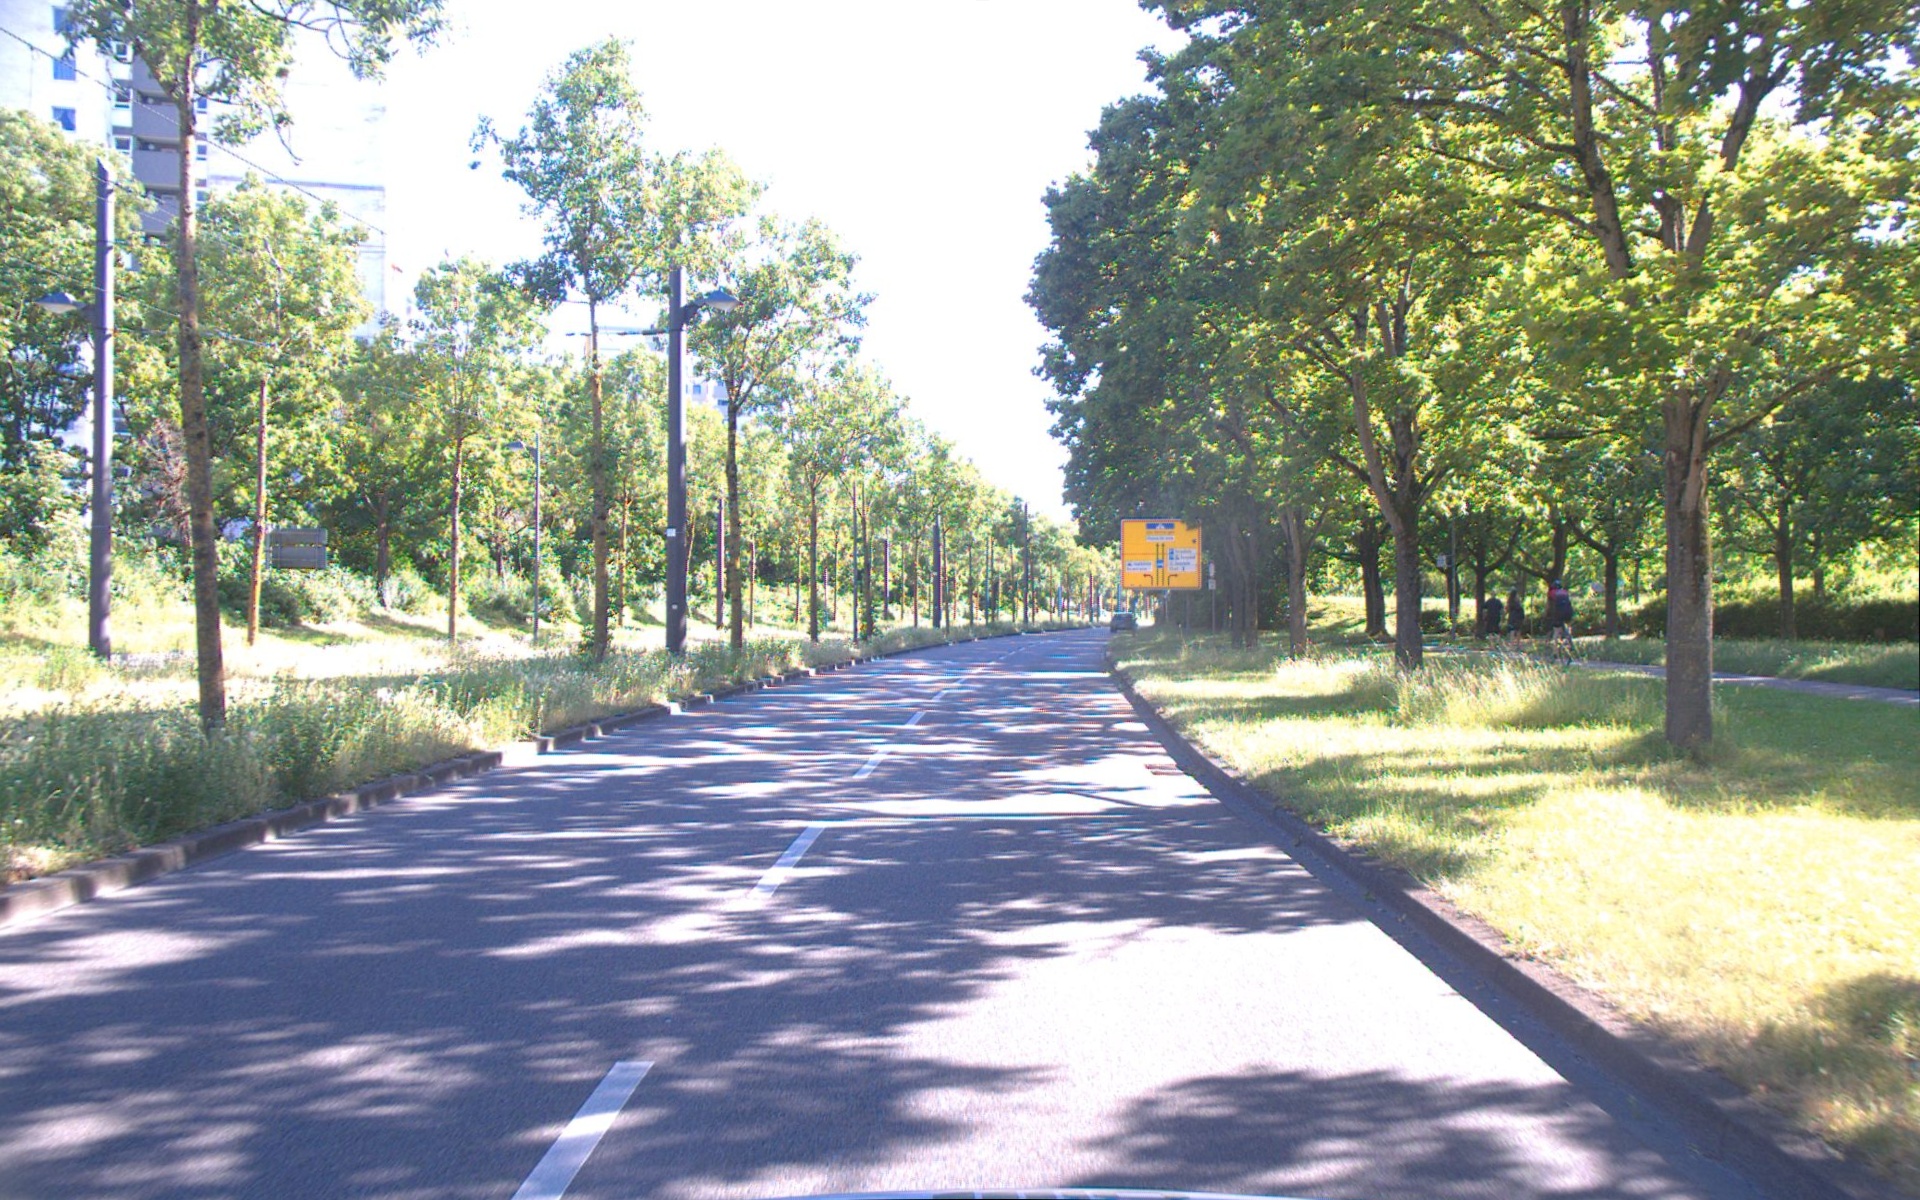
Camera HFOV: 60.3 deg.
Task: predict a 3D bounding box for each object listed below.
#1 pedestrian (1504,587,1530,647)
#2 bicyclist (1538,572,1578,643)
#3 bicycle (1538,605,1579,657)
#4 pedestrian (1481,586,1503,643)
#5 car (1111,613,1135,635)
[{"bbox_3d":[16.078,0.498,47.729,0.622,1.721,0.844,-1,-1,15],"label":"pedestrian"},{"bbox_3d":[12.669,0.152,35.025,0.773,1.476,0.845,-1,-1,21],"label":"bicyclist"},{"bbox_3d":[12.671,0.648,35.008,0.778,1.065,2.143,-1,0,20],"label":"bicycle"},{"bbox_3d":[15.468,0.429,48.090,0.535,1.650,0.844,-1,-1,15],"label":"pedestrian"},{"bbox_3d":[11.937,1.750,121.160,1.599,1.524,4.238,1,0,8],"label":"car"}]
